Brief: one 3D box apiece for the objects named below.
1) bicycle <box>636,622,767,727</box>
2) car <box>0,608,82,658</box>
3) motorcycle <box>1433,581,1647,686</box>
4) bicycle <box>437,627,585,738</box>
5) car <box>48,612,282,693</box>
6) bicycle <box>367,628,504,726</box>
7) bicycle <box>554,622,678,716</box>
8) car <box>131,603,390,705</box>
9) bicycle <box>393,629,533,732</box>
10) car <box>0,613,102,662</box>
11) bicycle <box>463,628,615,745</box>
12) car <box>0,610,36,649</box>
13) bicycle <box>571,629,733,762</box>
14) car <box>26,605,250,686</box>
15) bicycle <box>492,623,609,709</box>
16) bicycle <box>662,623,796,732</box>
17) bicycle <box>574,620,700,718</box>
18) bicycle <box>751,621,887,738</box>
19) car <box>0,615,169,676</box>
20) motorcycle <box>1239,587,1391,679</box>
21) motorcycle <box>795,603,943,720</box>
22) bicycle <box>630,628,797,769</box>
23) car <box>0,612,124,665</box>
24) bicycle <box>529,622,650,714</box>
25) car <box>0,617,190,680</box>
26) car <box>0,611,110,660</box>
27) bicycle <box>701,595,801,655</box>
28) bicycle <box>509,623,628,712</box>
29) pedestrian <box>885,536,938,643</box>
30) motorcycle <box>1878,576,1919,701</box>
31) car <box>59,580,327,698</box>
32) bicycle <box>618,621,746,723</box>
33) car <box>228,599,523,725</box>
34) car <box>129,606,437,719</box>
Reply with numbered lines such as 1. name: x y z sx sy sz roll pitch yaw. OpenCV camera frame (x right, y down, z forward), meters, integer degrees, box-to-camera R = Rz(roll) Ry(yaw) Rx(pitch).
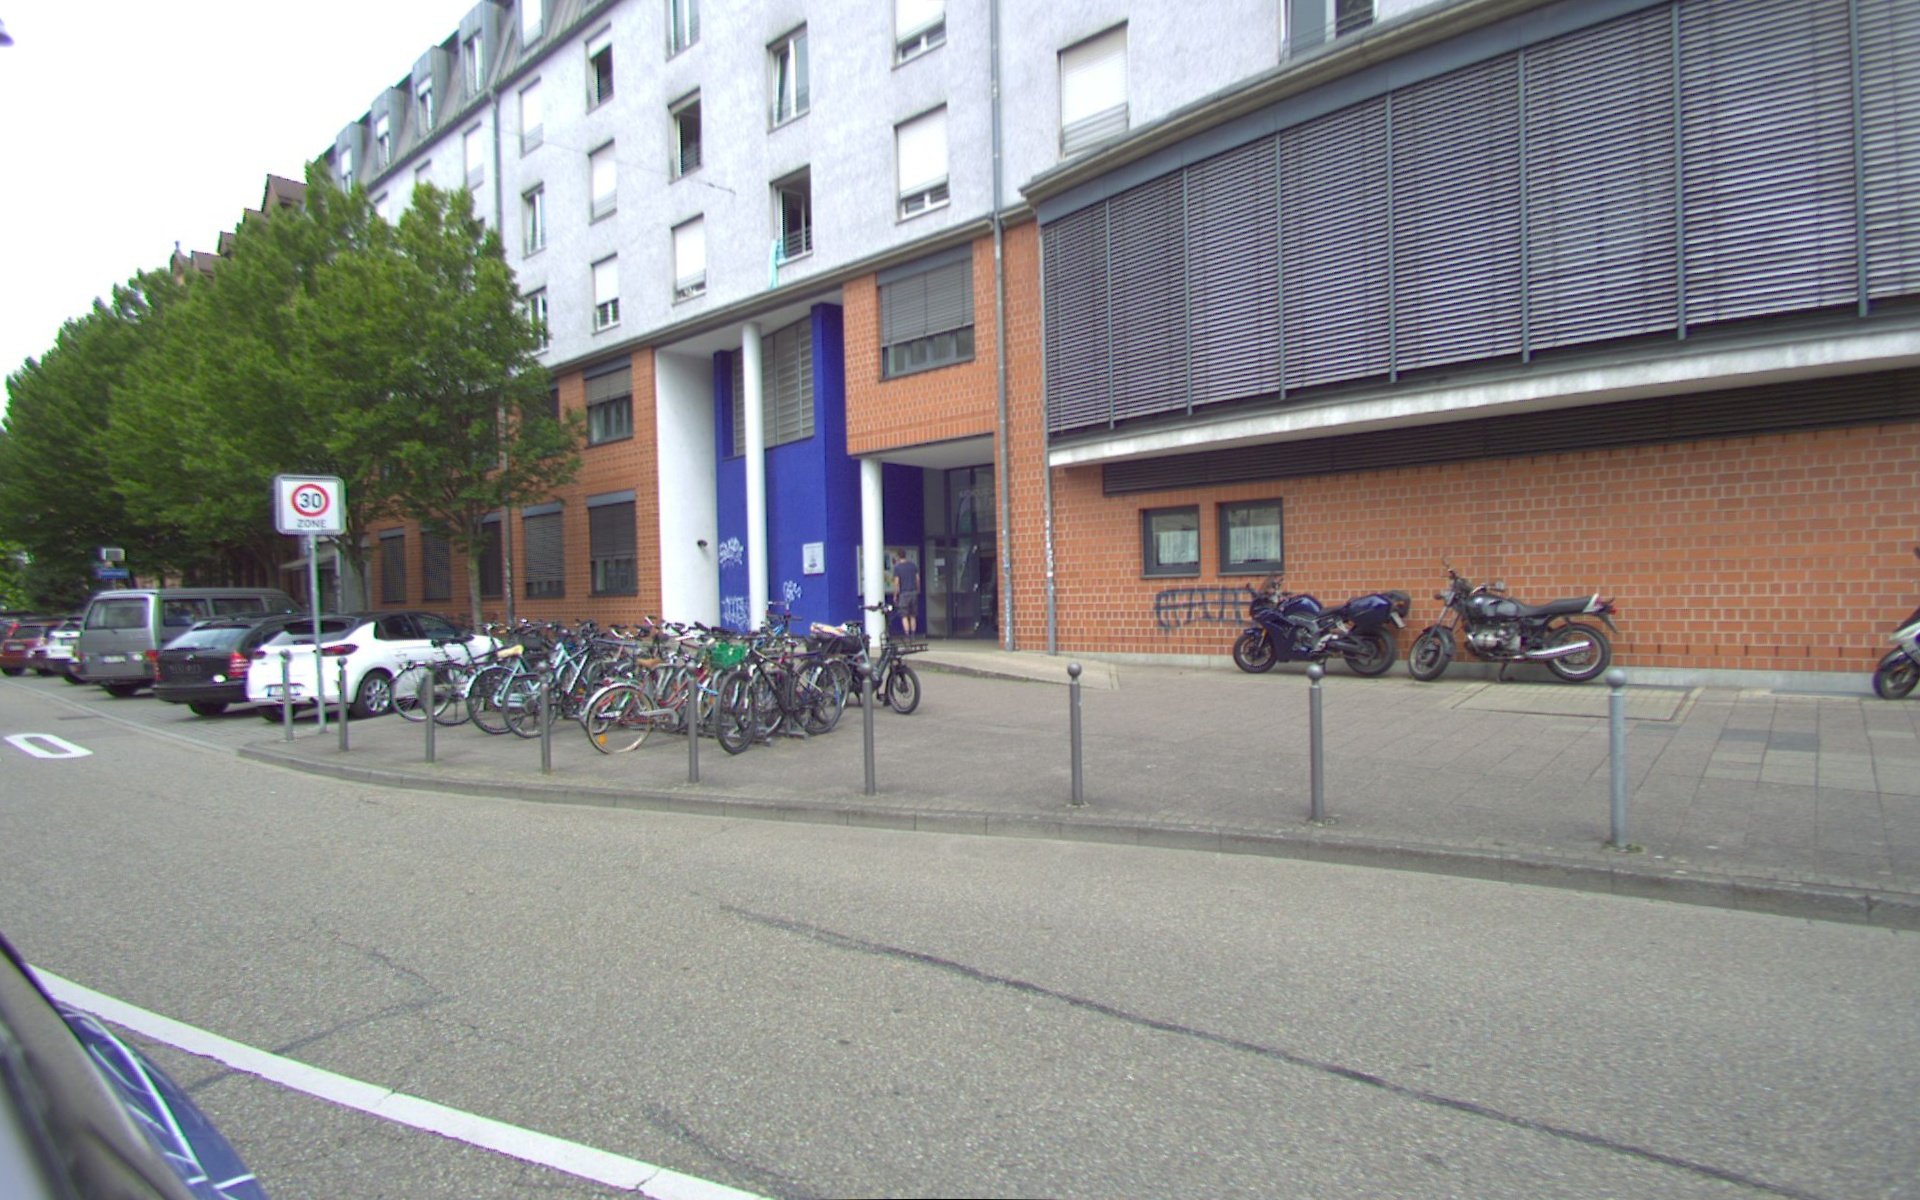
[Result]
1. bicycle: -2.847 0.797 11.253 0.402 1.034 1.391 -1 1 43
2. car: -37.649 1.305 40.220 1.671 1.871 4.036 -2 0 8
3. motorcycle: 6.318 0.366 11.121 1.959 1.056 0.579 -2 1 30
4. bicycle: -4.912 0.876 11.128 0.402 1.034 1.391 -1 3 43
5. car: -17.030 1.063 21.948 1.606 1.457 3.996 -2 0 8
6. bicycle: -6.460 0.920 12.517 0.402 1.034 1.391 -1 3 43
7. bicycle: -4.203 0.817 12.419 0.402 1.034 1.391 -1 1 43
8. car: -12.702 0.900 18.717 1.690 1.522 3.998 -2 1 7
9. bicycle: -5.857 0.921 11.980 0.402 1.034 1.391 -1 3 43
10. car: -33.072 1.325 35.841 1.671 1.579 3.996 -2 0 8
11. bicycle: -4.428 0.882 10.707 0.402 1.046 1.391 -1 3 43
12. car: -47.468 1.491 48.918 1.671 1.871 3.996 -2 0 8
13. bicycle: -2.852 0.853 9.471 0.402 1.046 1.391 -1 3 43
14. car: -19.061 0.989 23.727 1.692 1.627 3.996 -2 0 8
15. bicycle: -5.487 0.858 13.623 0.402 1.034 1.391 -1 1 43
16. bicycle: -2.460 0.798 10.882 0.402 1.034 1.391 -1 1 43
17. bicycle: -3.838 0.795 12.099 0.402 1.034 1.391 -1 1 43
18. bicycle: -1.395 0.763 10.214 0.402 1.034 1.391 -1 1 43
19. car: -24.994 1.245 28.689 1.671 1.464 3.996 -2 0 8
20. motorcycle: 4.387 0.405 12.581 1.656 1.056 0.578 -2 2 40
21. motorcycle: -1.047 0.655 11.337 1.779 1.181 0.577 -1 2 43
22. bicycle: -2.141 0.825 8.929 0.402 1.046 1.391 -1 3 43
23. car: -31.005 1.270 34.308 1.671 1.579 3.996 -2 0 8
24. bicycle: -4.700 0.839 12.904 0.402 1.034 1.391 -1 1 43
25. car: -23.263 1.253 27.309 1.577 1.400 3.996 -2 0 8
26. car: -35.445 1.336 38.992 1.671 1.694 3.996 -2 0 8
27. bicycle: -4.065 0.463 19.711 1.591 0.932 0.933 -9 5 -37
28. bicycle: -5.129 0.858 13.310 0.402 1.034 1.391 -1 1 43
29. pedestrian: -0.951 -0.195 19.731 0.718 2.029 0.785 -1 0 -29
30. motorcycle: 8.969 0.317 8.527 1.793 1.056 0.577 -1 2 42
31. car: -14.931 0.667 20.028 1.841 2.012 3.994 -1 2 10
32. bicycle: -3.169 0.797 11.624 0.402 1.034 1.391 -1 1 43
33. car: -8.425 0.811 15.045 1.585 1.557 3.993 -1 0 10
34. car: -10.574 0.893 16.260 1.697 1.480 4.307 -1 0 7
